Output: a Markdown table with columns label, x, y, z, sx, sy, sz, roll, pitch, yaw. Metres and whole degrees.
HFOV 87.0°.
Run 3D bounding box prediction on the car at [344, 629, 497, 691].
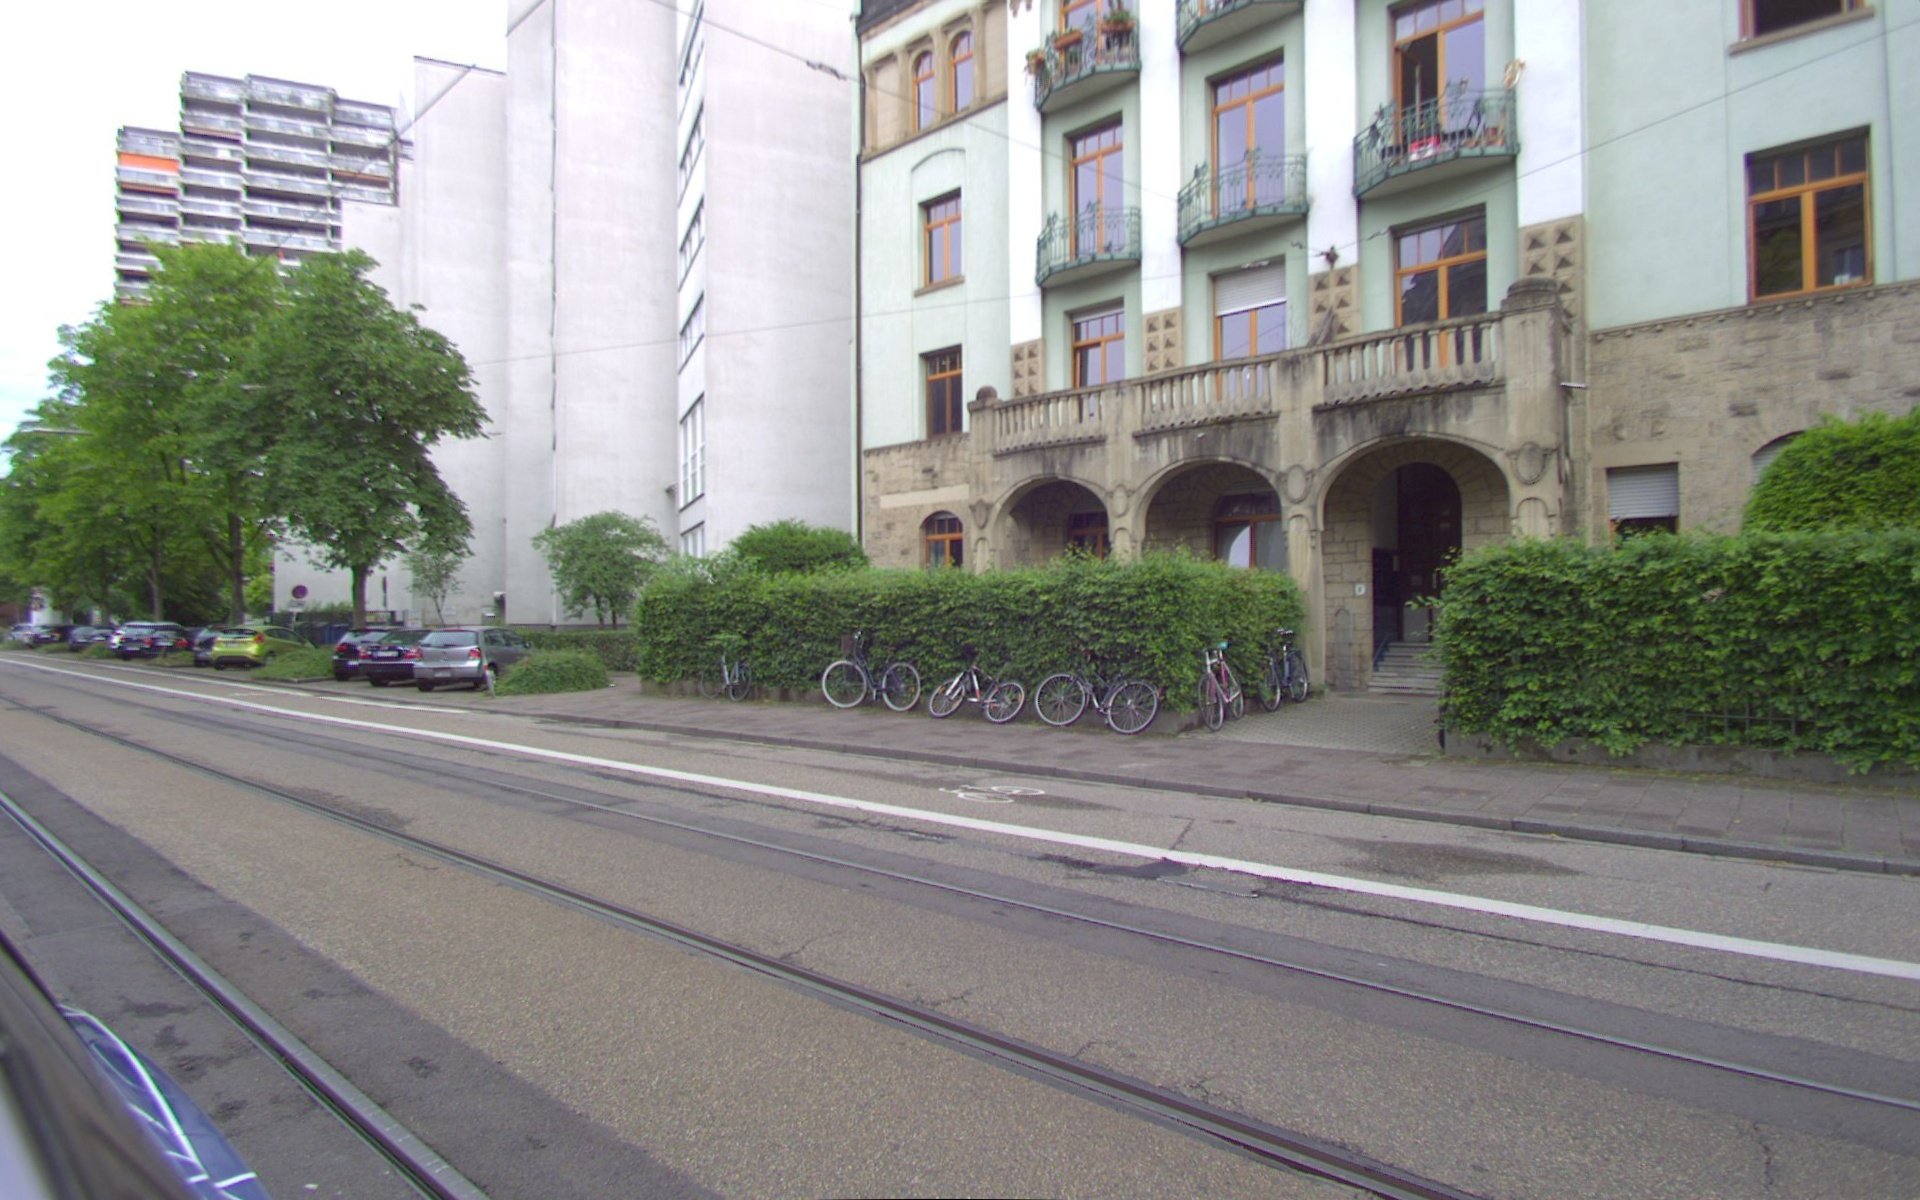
| label | x | y | z | sx | sy | sz | roll | pitch | yaw |
| --- | --- | --- | --- | --- | --- | --- | --- | --- | --- |
| car | -13.455 | 1.444 | 25.513 | 1.672 | 1.413 | 3.998 | 0 | -1 | 1 |

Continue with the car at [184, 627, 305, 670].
| label | x | y | z | sx | sy | sz | roll | pitch | yaw |
| --- | --- | --- | --- | --- | --- | --- | --- | --- | --- |
| car | -25.645 | 1.708 | 36.460 | 1.670 | 1.453 | 4.002 | 0 | -1 | -3 |

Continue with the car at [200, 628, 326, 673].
| label | x | y | z | sx | sy | sz | roll | pitch | yaw |
| --- | --- | --- | --- | --- | --- | --- | --- | --- | --- |
| car | -23.491 | 1.680 | 34.288 | 1.670 | 1.405 | 4.002 | 0 | -1 | -3 |

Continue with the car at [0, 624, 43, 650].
| label | x | y | z | sx | sy | sz | roll | pitch | yaw |
| --- | --- | --- | --- | --- | --- | --- | --- | --- | --- |
| car | -59.242 | 2.310 | 63.699 | 3.996 | 1.632 | 1.673 | -1 | -2 | 39 |

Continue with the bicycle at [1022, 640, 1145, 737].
| label | x | y | z | sx | sy | sz | roll | pitch | yaw |
| --- | --- | --- | --- | --- | --- | --- | --- | --- | --- |
| bicycle | 1.472 | 1.044 | 12.280 | 1.546 | 1.092 | 0.356 | -2 | -2 | 41 |

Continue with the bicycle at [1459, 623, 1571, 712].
| label | x | y | z | sx | sy | sz | roll | pitch | yaw |
| --- | --- | --- | --- | --- | --- | --- | --- | --- | --- |
| bicycle | 7.096 | 0.853 | 12.954 | 1.203 | 1.091 | 0.297 | -2 | 0 | 35 |

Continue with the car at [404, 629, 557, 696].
| label | x | y | z | sx | sy | sz | roll | pitch | yaw |
| --- | --- | --- | --- | --- | --- | --- | --- | --- | --- |
| car | -11.126 | 1.394 | 23.792 | 1.672 | 1.413 | 3.998 | 0 | -1 | 1 |

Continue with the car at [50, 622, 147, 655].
| label | x | y | z | sx | sy | sz | roll | pitch | yaw |
| --- | --- | --- | --- | --- | --- | --- | --- | --- | --- |
| car | -43.832 | 1.935 | 51.587 | 1.670 | 1.632 | 4.002 | 0 | -1 | -3 |

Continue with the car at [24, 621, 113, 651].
| label | x | y | z | sx | sy | sz | roll | pitch | yaw |
| --- | --- | --- | --- | --- | --- | --- | --- | --- | --- |
| car | -50.782 | 2.041 | 57.770 | 1.670 | 1.632 | 4.002 | 0 | -1 | -3 |

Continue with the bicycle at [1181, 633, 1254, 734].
| label | x | y | z | sx | sy | sz | roll | pitch | yaw |
| --- | --- | --- | --- | --- | --- | --- | --- | --- | --- |
| bicycle | 3.102 | 0.980 | 12.146 | 0.300 | 1.091 | 1.190 | -2 | 1 | 42 |

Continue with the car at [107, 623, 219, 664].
| label | x | y | z | sx | sy | sz | roll | pitch | yaw |
| --- | --- | --- | --- | --- | --- | --- | --- | --- | --- |
| car | -33.323 | 1.781 | 42.436 | 1.670 | 1.632 | 4.002 | 0 | -1 | -3 |

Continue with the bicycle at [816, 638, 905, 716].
| label | x | y | z | sx | sy | sz | roll | pitch | yaw |
| --- | --- | --- | --- | --- | --- | --- | --- | --- | --- |
| bicycle | -1.488 | 1.113 | 15.020 | 1.546 | 1.092 | 0.356 | -2 | -2 | 41 |

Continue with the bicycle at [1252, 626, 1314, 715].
| label | x | y | z | sx | sy | sz | roll | pitch | yaw |
| --- | --- | --- | --- | --- | --- | --- | --- | --- | --- |
| bicycle | 4.360 | 0.924 | 13.633 | 0.300 | 1.091 | 1.190 | -2 | 1 | 42 |

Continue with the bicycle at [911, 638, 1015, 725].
| label | x | y | z | sx | sy | sz | roll | pitch | yaw |
| --- | --- | --- | --- | --- | --- | --- | --- | --- | --- |
| bicycle | 0.022 | 1.069 | 13.609 | 1.546 | 1.092 | 0.356 | -2 | -2 | 41 |

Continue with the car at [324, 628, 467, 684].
| label | x | y | z | sx | sy | sz | roll | pitch | yaw |
| --- | --- | --- | --- | --- | --- | --- | --- | --- | --- |
| car | -15.454 | 1.498 | 27.957 | 1.672 | 1.413 | 3.998 | 0 | -1 | 1 |

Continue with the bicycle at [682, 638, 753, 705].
| label | x | y | z | sx | sy | sz | roll | pitch | yaw |
| --- | --- | --- | --- | --- | --- | --- | --- | --- | --- |
| bicycle | -4.166 | 1.207 | 17.355 | 1.546 | 1.092 | 0.356 | -2 | -2 | 41 |
